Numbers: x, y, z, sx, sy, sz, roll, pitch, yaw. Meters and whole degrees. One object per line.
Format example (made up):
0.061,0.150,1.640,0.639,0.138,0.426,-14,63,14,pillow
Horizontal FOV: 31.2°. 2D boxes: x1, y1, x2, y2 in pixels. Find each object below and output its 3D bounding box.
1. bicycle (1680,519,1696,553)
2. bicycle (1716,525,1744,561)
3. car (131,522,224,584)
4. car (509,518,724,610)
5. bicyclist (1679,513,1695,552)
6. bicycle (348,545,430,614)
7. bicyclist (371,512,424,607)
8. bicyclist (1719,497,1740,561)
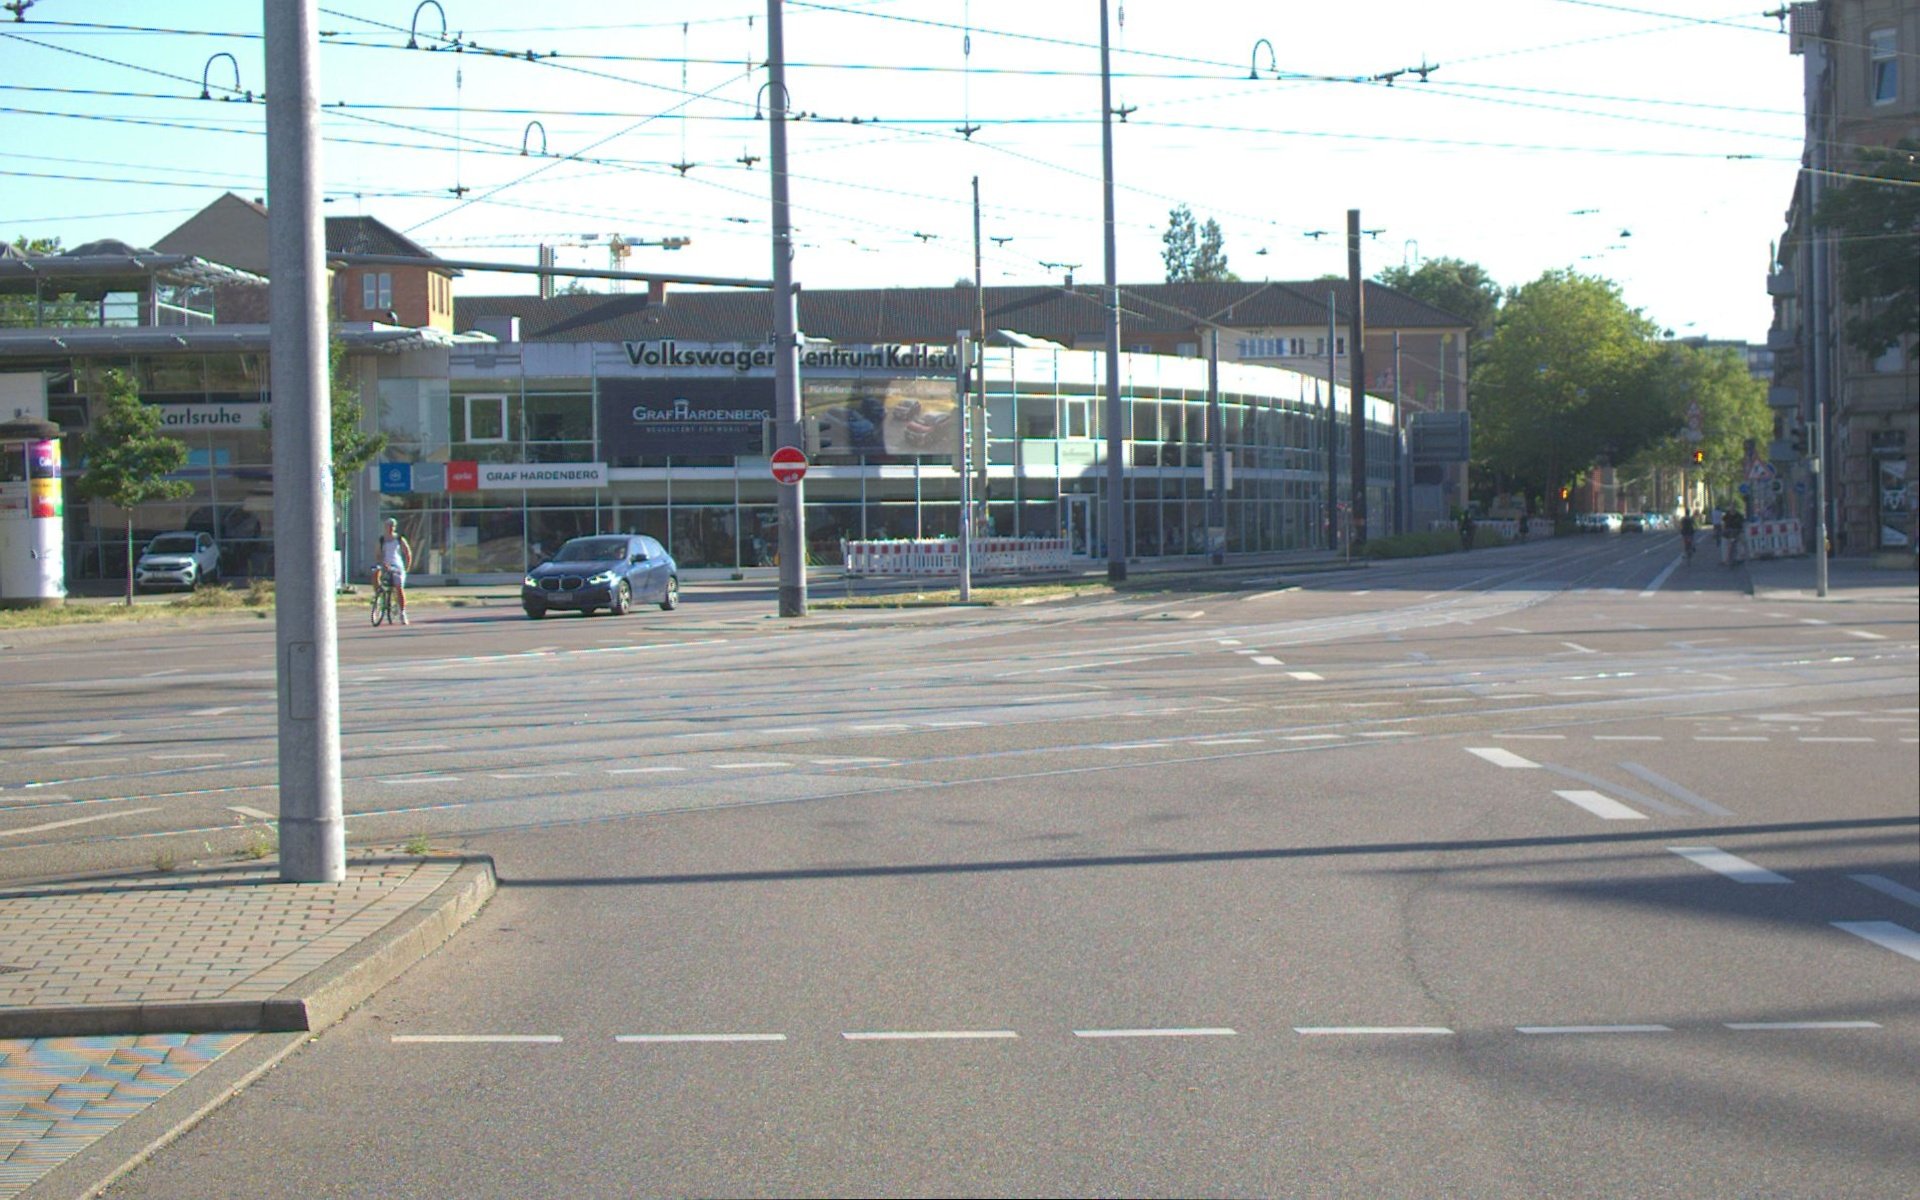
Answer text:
20.756,-1.830,98.030,0.410,0.938,1.844,1,1,12,bicycle
20.625,-1.532,92.082,0.658,0.949,1.599,1,1,15,bicycle
-22.589,-1.357,99.373,1.993,1.744,4.001,1,1,-4,car
-6.121,-0.634,61.654,1.996,1.579,3.994,1,1,27,car
20.721,-1.930,97.968,0.408,1.112,0.399,1,0,11,bicyclist
-9.892,-0.355,59.637,0.613,1.185,1.867,1,1,17,bicycle
-9.797,-0.709,59.908,0.598,1.610,0.822,1,3,17,bicyclist
20.626,-1.898,92.155,0.519,1.695,0.516,1,0,12,bicyclist
